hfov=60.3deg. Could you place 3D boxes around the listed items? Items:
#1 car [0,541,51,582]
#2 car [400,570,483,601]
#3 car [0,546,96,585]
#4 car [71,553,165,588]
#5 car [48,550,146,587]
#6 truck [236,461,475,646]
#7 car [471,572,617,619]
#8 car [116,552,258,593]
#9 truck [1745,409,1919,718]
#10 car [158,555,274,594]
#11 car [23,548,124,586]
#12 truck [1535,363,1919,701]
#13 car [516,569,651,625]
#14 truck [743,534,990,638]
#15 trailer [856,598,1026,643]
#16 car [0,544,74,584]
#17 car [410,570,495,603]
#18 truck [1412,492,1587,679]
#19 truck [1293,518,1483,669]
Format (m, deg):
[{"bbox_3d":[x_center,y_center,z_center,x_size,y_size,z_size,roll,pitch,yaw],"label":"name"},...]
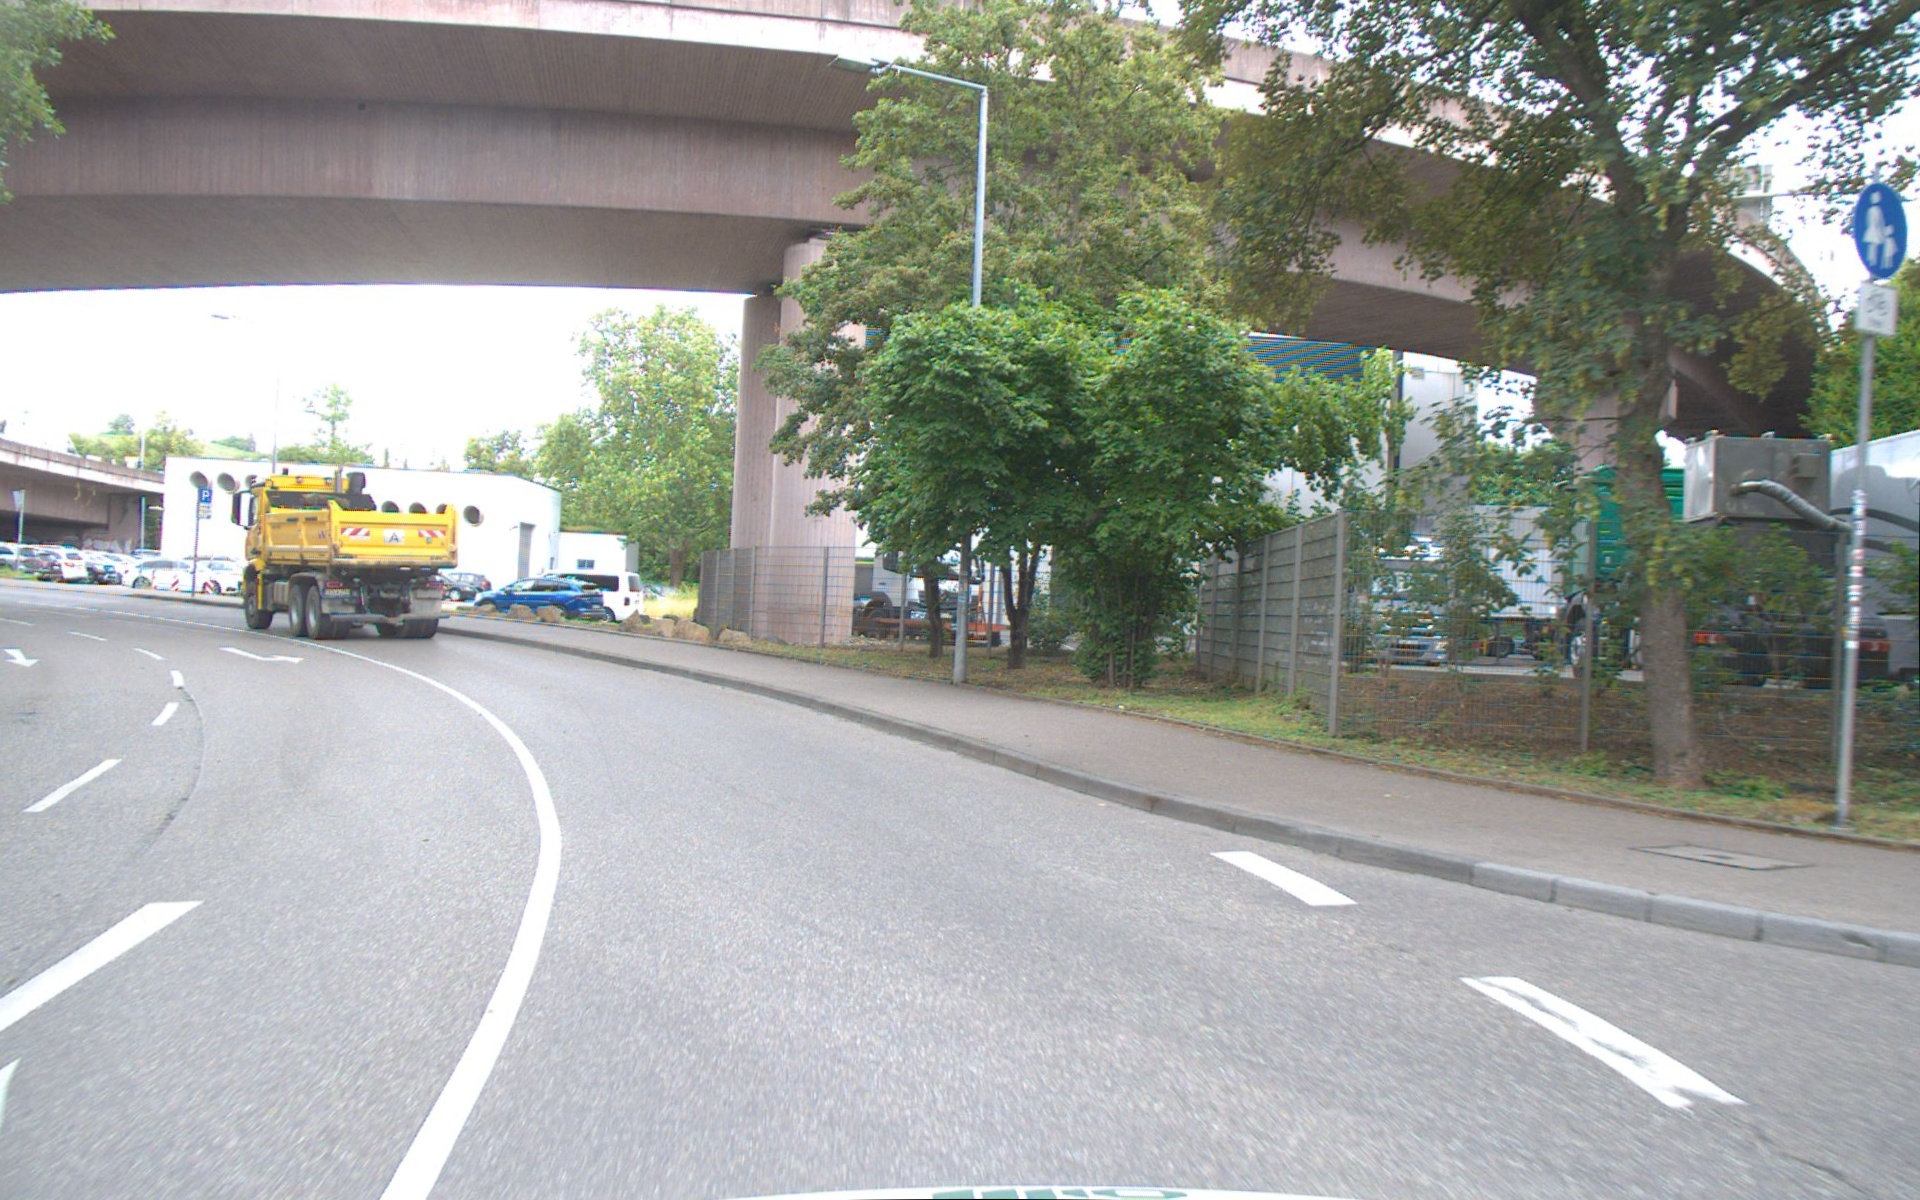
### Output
[{"bbox_3d":[-41.591,-1.672,71.304,3.791,1.662,1.776,1,-1,-1],"label":"car"},{"bbox_3d":[-26.332,-0.712,84.056,3.624,1.467,1.635,1,-1,0],"label":"car"},{"bbox_3d":[-42.290,-1.599,76.407,3.790,1.662,1.776,1,-1,0],"label":"car"},{"bbox_3d":[-42.425,-1.483,83.377,3.790,1.662,1.776,1,-1,0],"label":"car"},{"bbox_3d":[-42.206,-1.530,80.941,3.790,1.662,1.776,1,-1,0],"label":"car"},{"bbox_3d":[-13.324,-1.008,35.963,2.903,3.542,8.143,-1,2,-35],"label":"truck"},{"bbox_3d":[-14.070,-0.155,56.024,4.350,1.467,2.001,1,-1,17],"label":"car"},{"bbox_3d":[-31.170,-1.106,66.781,4.721,1.467,2.000,1,-1,0],"label":"car"},{"bbox_3d":[13.747,-0.454,21.877,3.002,3.935,8.050,1,1,1],"label":"truck"},{"bbox_3d":[-31.139,-1.062,69.278,3.905,1.467,2.000,1,-1,0],"label":"car"},{"bbox_3d":[-42.071,-1.558,78.570,3.790,1.662,1.776,1,-1,0],"label":"car"},{"bbox_3d":[10.712,-0.885,23.433,3.001,4.032,6.927,1,1,3],"label":"truck"},{"bbox_3d":[-13.398,-0.085,58.955,4.222,1.890,2.001,1,-1,10],"label":"car"},{"bbox_3d":[-2.666,-0.408,44.978,2.704,2.596,7.114,2,0,-44],"label":"truck"},{"bbox_3d":[-0.562,0.409,37.042,2.115,0.756,6.264,-1,1,-17],"label":"trailer"},{"bbox_3d":[-41.974,-1.626,73.888,3.790,1.662,1.776,1,-1,0],"label":"car"},{"bbox_3d":[-26.983,-0.729,88.011,3.905,1.573,1.856,2,2,1],"label":"car"},{"bbox_3d":[15.312,-0.455,47.613,3.135,4.863,8.054,1,1,6],"label":"truck"},{"bbox_3d":[11.460,-0.256,45.193,2.993,3.682,7.915,2,1,-1],"label":"truck"}]
